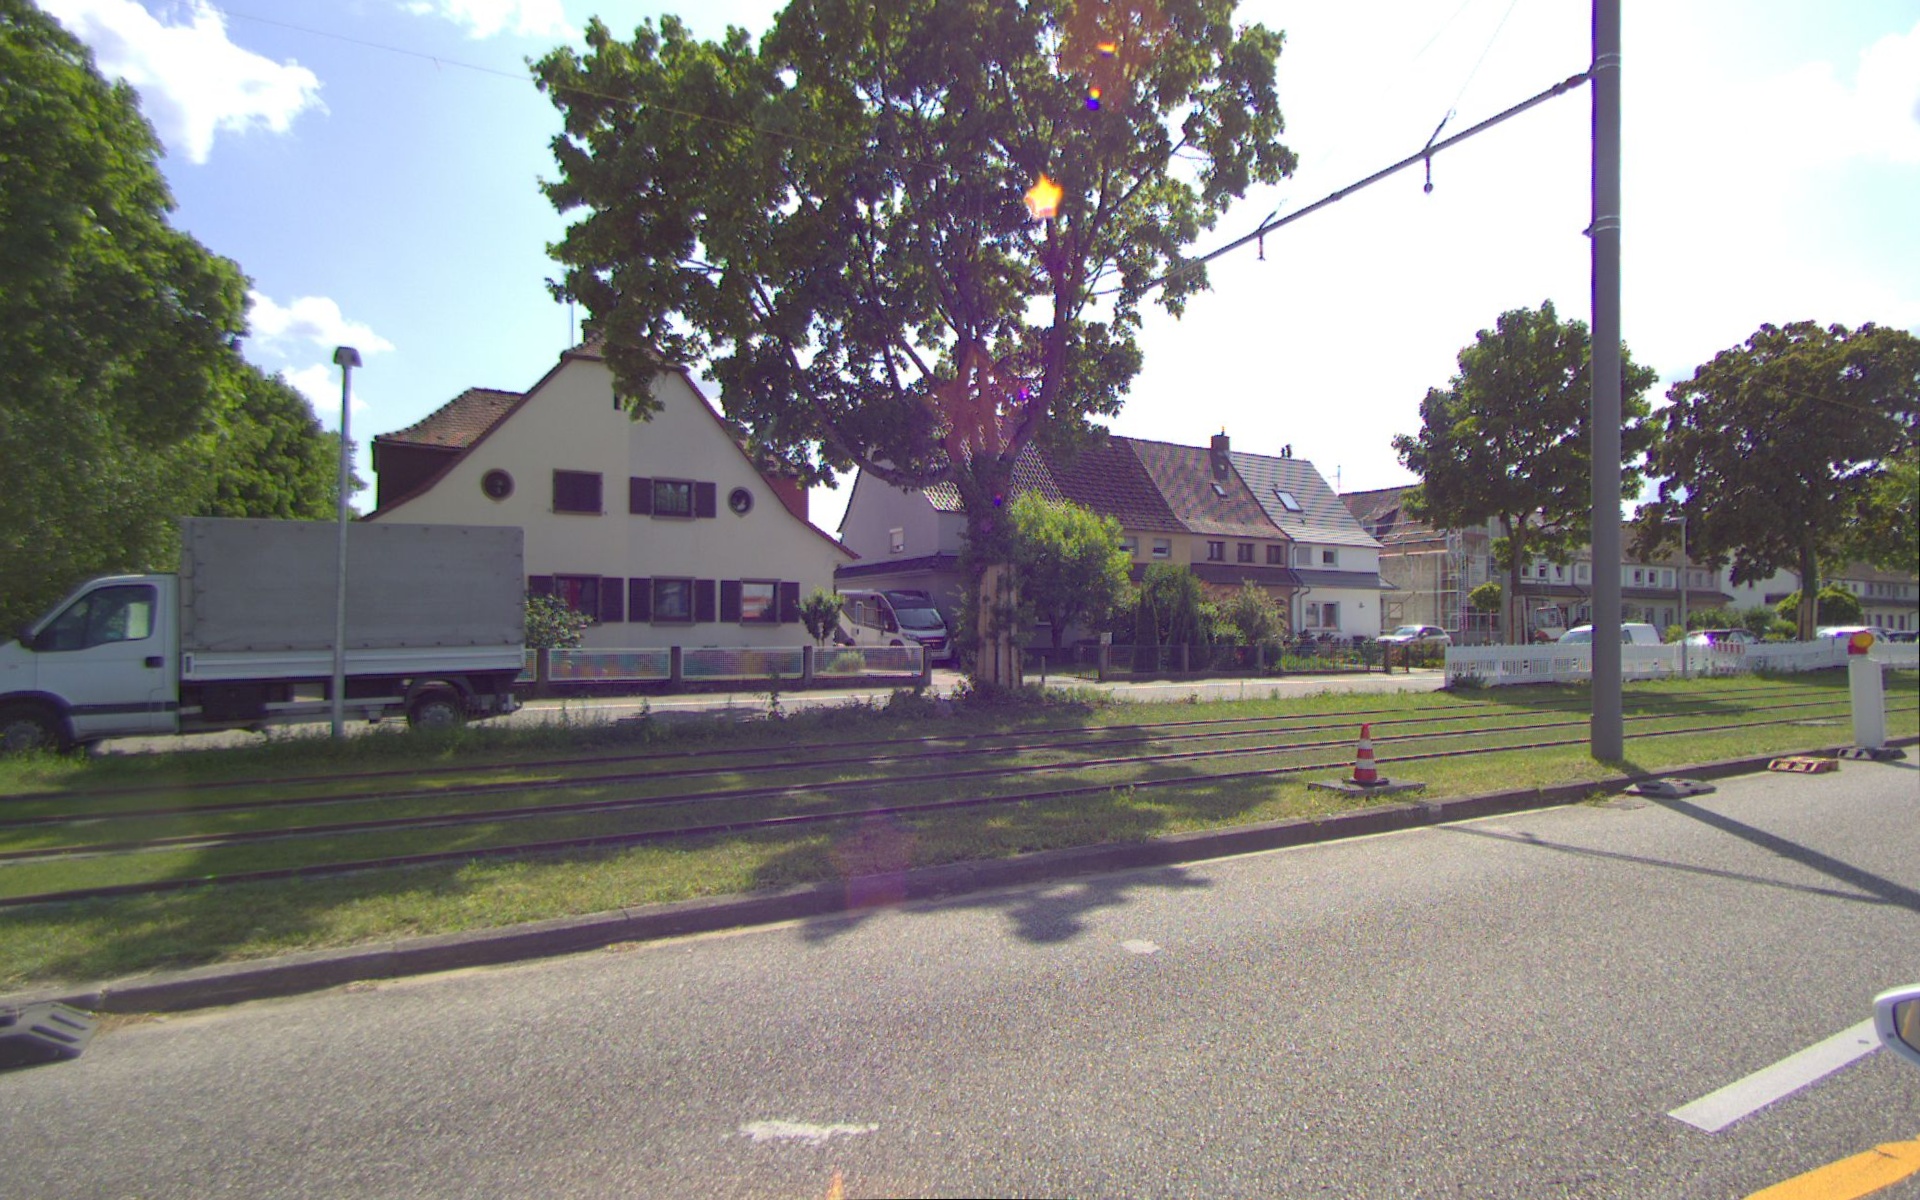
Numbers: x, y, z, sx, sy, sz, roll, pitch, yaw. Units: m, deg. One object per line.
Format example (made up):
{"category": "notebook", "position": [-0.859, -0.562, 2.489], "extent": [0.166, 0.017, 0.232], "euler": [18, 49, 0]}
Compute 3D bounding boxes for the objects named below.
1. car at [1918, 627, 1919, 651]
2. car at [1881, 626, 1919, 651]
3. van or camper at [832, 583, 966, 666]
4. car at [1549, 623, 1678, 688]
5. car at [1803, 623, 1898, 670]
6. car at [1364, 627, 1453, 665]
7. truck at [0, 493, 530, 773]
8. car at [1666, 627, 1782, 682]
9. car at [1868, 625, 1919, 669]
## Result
{"category": "car", "position": [72.135, 2.852, 73.668], "extent": [4.013, 1.762, 1.691], "euler": [1, -2, -30]}
{"category": "car", "position": [66.751, 2.688, 70.732], "extent": [4.013, 1.762, 1.691], "euler": [1, -2, -30]}
{"category": "van or camper", "position": [-2.351, 0.910, 36.651], "extent": [2.224, 2.745, 5.963], "euler": [1, -2, -33]}
{"category": "car", "position": [19.500, 1.607, 29.961], "extent": [3.814, 1.841, 1.691], "euler": [1, -2, -30]}
{"category": "car", "position": [34.960, 1.807, 39.423], "extent": [3.814, 1.762, 1.691], "euler": [1, -2, -30]}
{"category": "car", "position": [19.888, 1.997, 44.480], "extent": [3.814, 1.614, 1.691], "euler": [1, -2, -30]}
{"category": "truck", "position": [-8.798, 0.415, 12.935], "extent": [5.805, 3.027, 1.994], "euler": [1, -2, -30]}
{"category": "car", "position": [25.745, 1.803, 33.828], "extent": [4.006, 1.762, 1.691], "euler": [1, -2, -30]}
{"category": "car", "position": [40.388, 1.964, 42.601], "extent": [3.814, 1.762, 1.691], "euler": [1, -2, -30]}
